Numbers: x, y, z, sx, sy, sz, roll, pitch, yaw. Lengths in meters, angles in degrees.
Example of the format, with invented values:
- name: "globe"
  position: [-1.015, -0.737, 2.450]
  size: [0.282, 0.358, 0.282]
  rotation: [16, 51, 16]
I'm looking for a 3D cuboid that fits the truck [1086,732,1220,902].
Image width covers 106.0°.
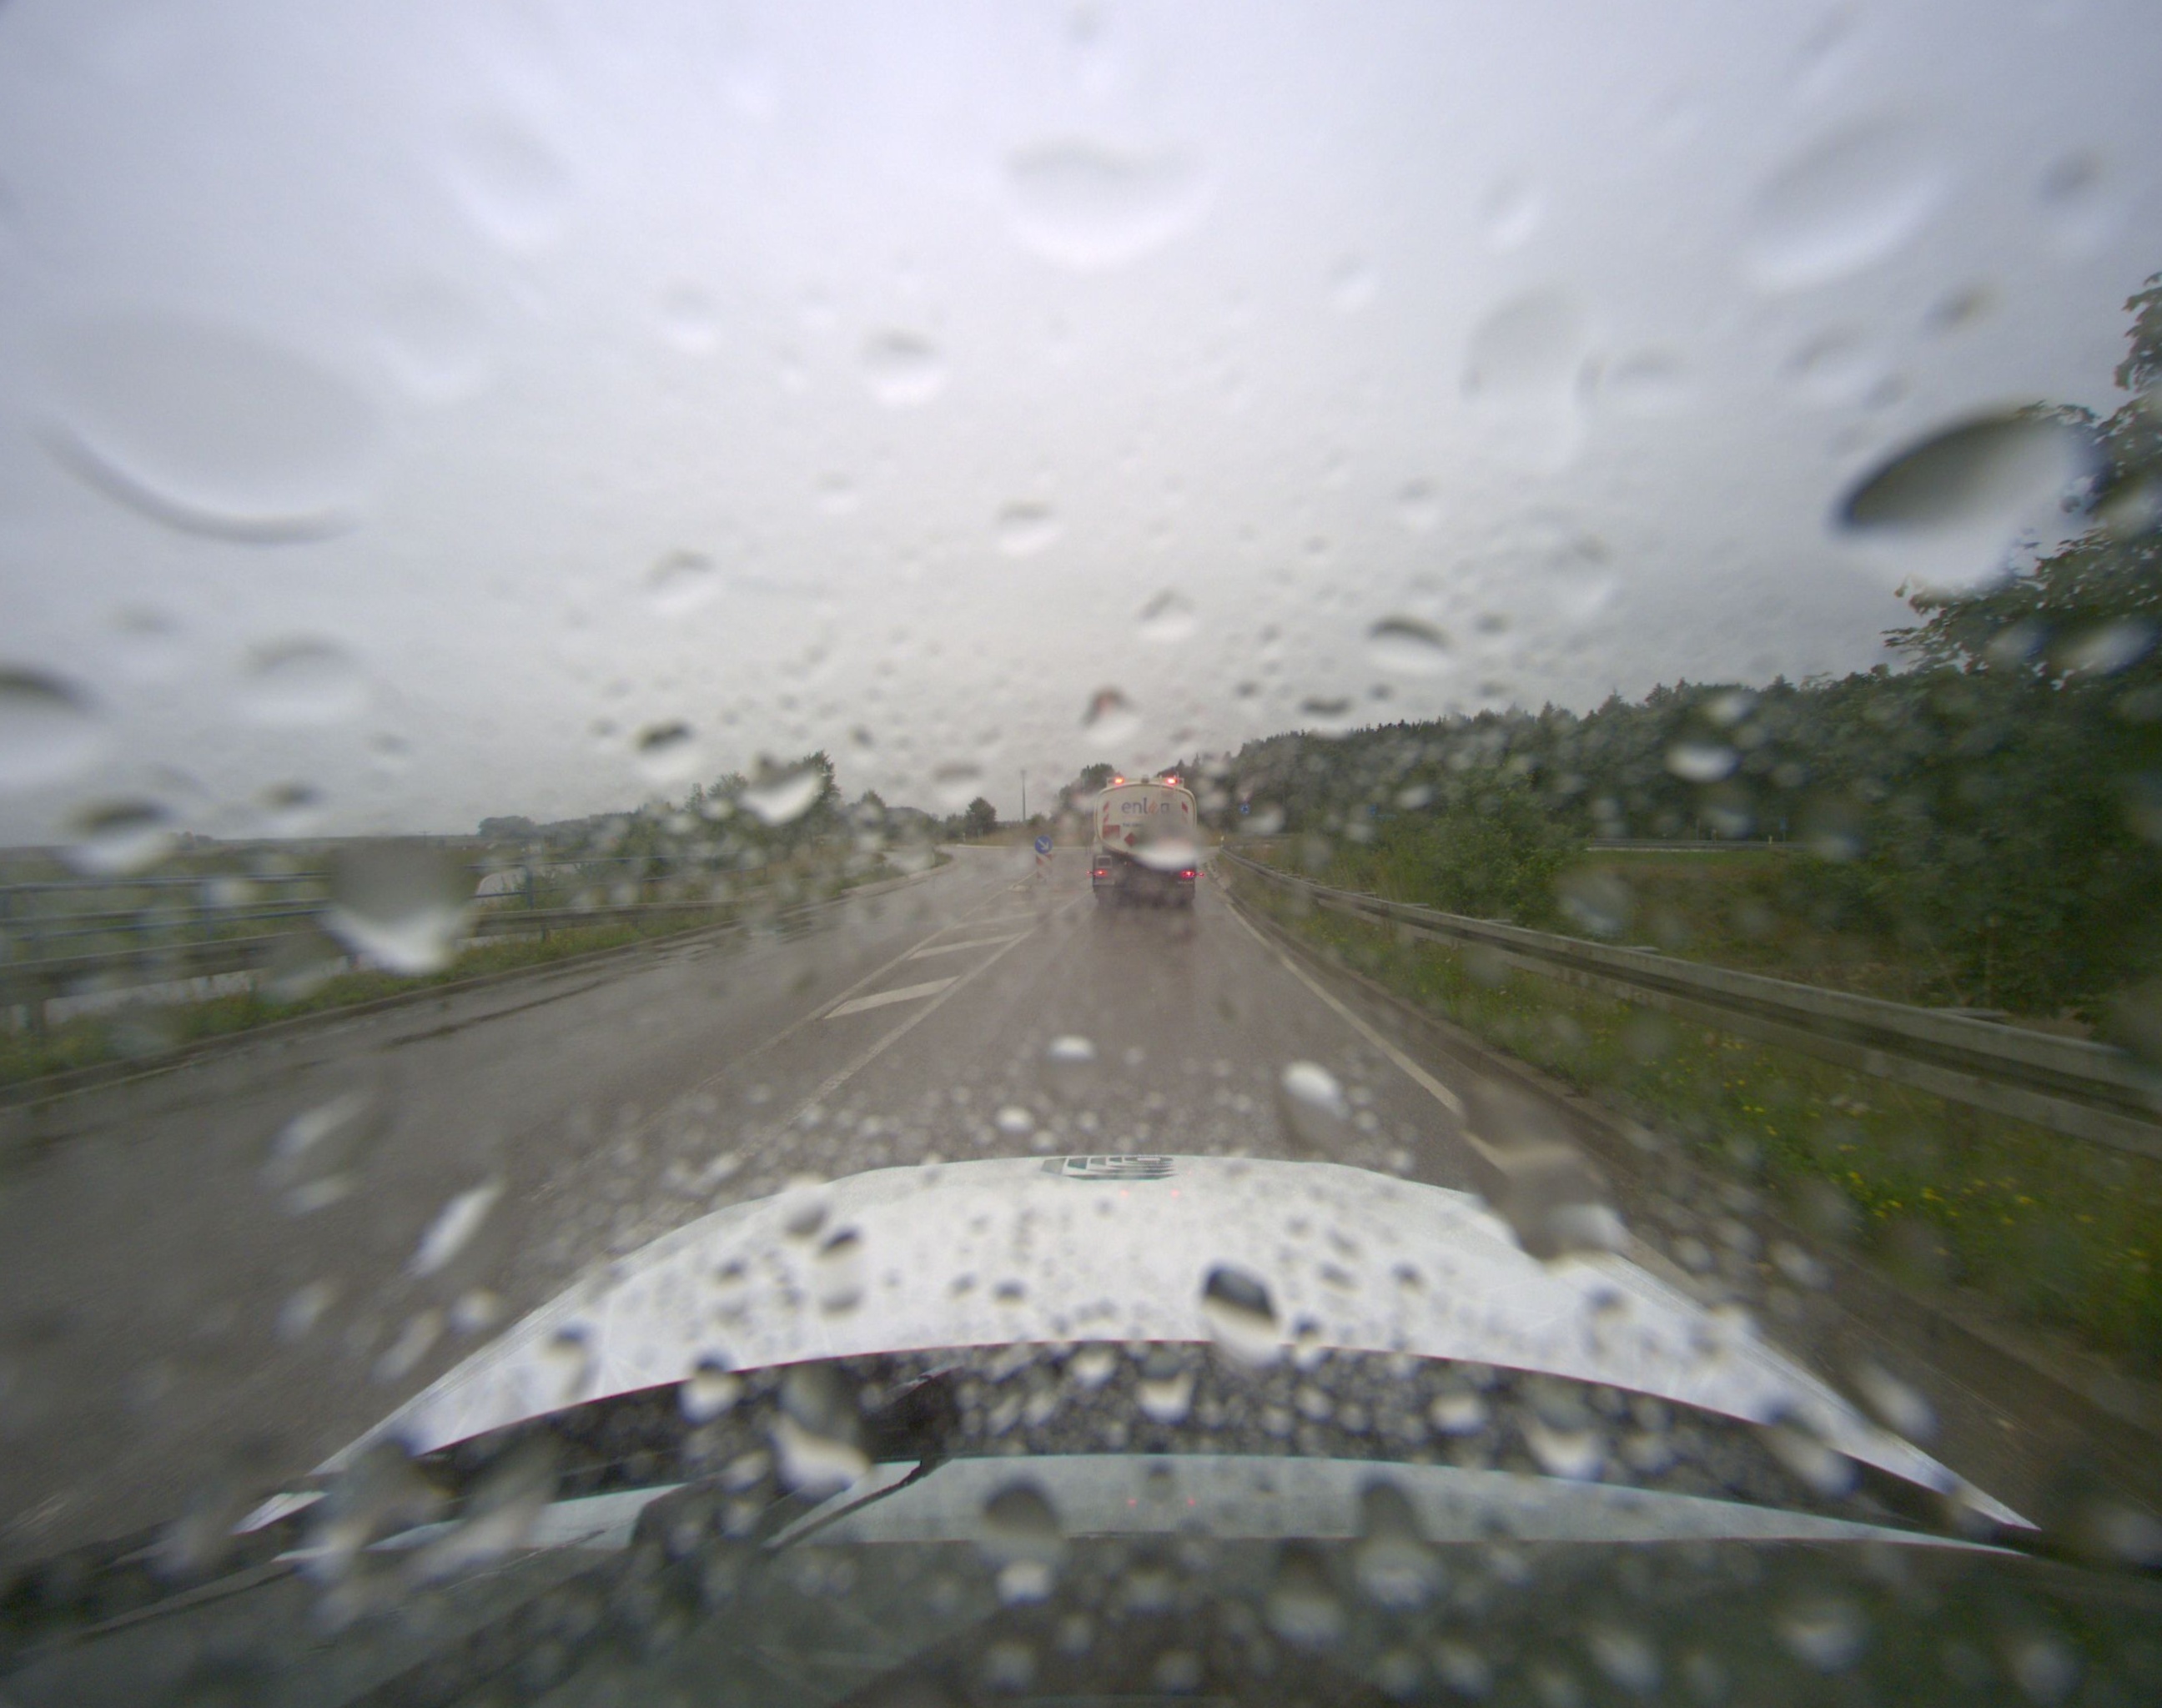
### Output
- name: "truck"
  position: [2.040, -0.970, 23.208]
  size: [3.025, 3.851, 8.836]
  rotation: [-1, 2, 5]
